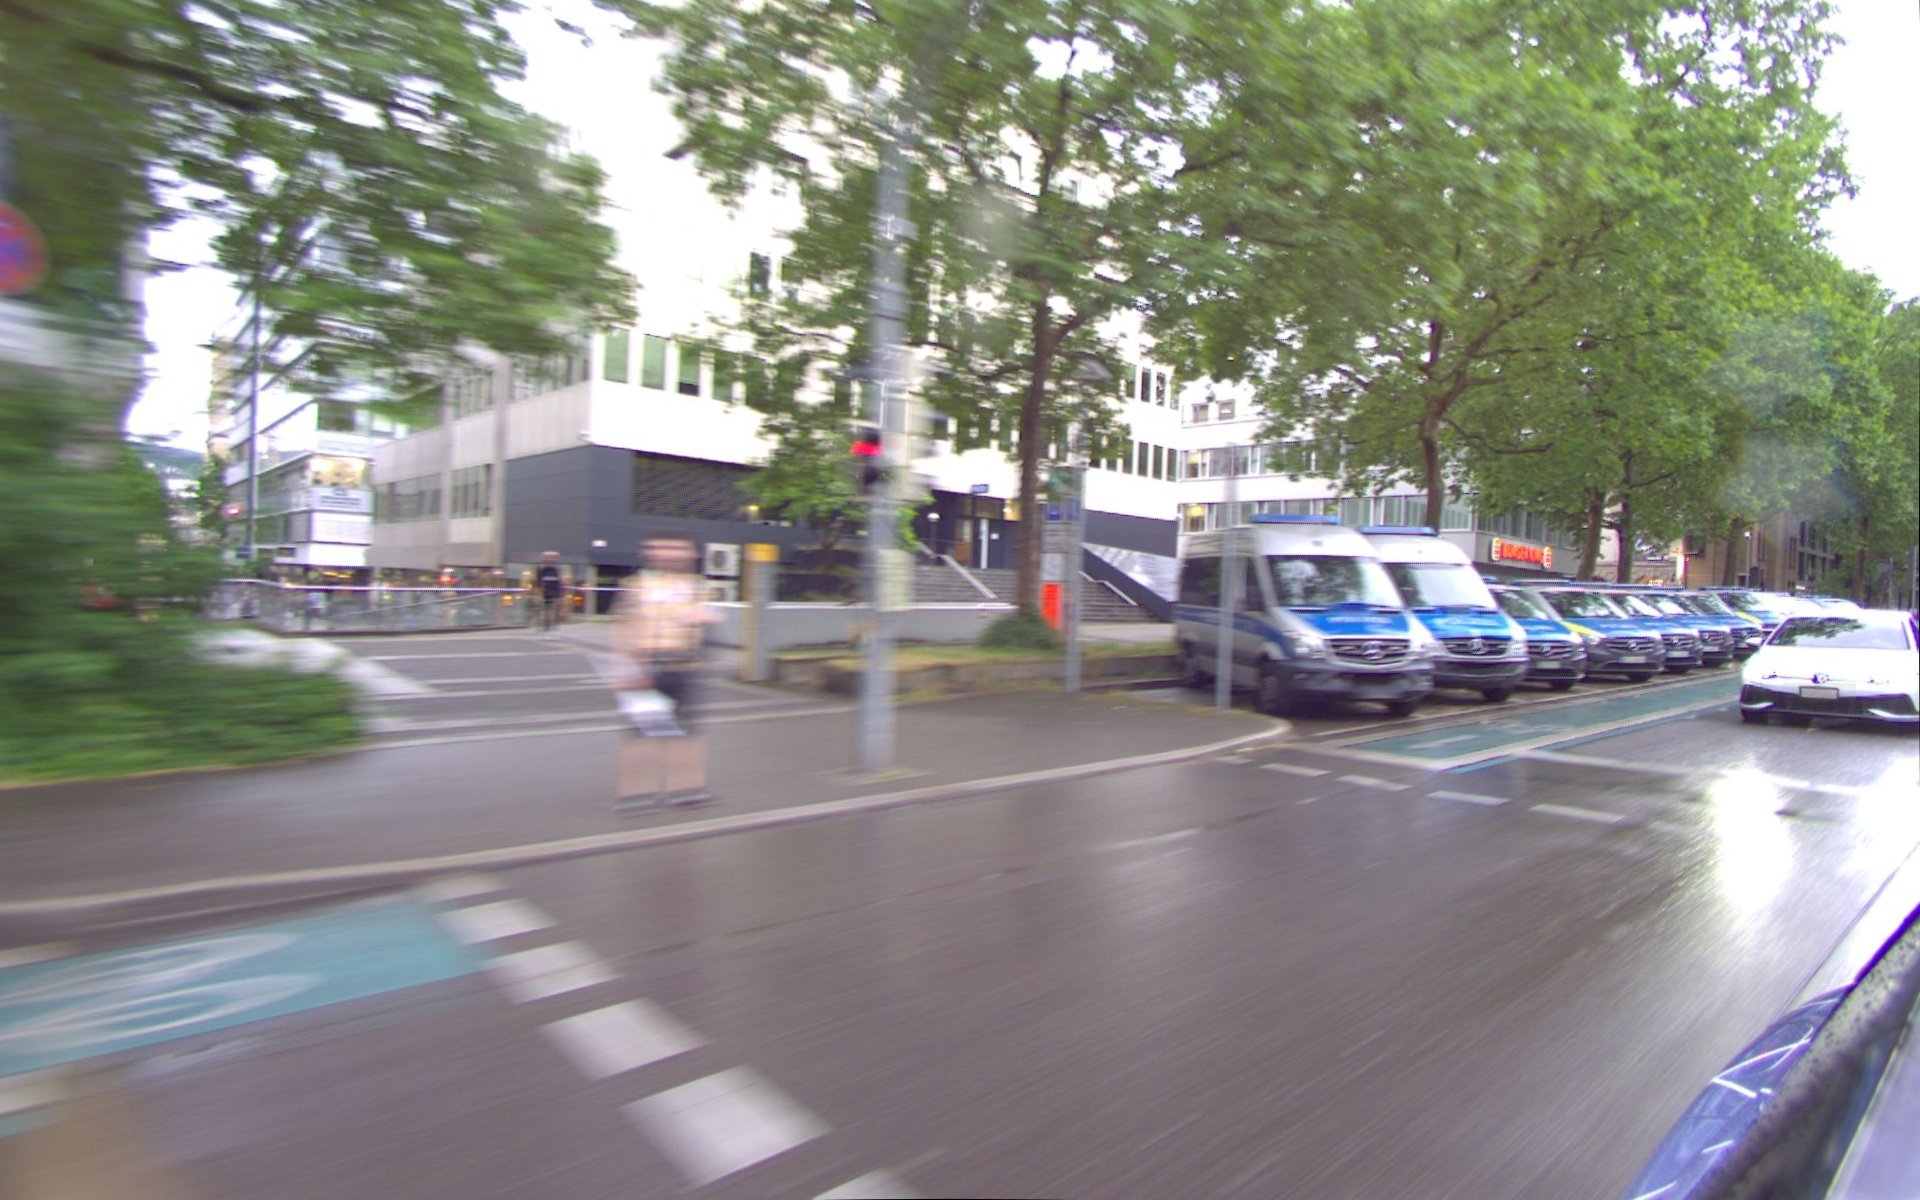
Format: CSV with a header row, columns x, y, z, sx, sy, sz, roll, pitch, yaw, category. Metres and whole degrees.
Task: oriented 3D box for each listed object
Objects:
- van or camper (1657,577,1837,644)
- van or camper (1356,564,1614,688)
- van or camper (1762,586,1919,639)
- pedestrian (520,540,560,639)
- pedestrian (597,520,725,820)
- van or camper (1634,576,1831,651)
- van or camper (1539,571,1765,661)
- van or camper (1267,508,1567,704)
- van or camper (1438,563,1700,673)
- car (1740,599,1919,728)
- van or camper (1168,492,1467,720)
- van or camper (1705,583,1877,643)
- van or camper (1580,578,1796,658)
x,y,z,sx,sy,sz,roll,pitch,yaw,category
25.379,0.286,32.897,1.831,2.023,4.858,1,1,-4,van or camper
9.621,0.363,19.147,1.960,2.039,5.022,0,1,-5,van or camper
35.859,0.460,41.417,1.963,2.017,4.949,0,0,-2,van or camper
-8.804,-0.223,21.233,0.754,2.038,0.705,1,2,-21,pedestrian
-1.974,0.426,6.674,0.605,1.854,0.556,1,1,41,pedestrian
22.852,0.335,30.229,1.960,2.036,4.799,0,1,-4,van or camper
17.416,0.338,25.883,2.065,2.050,5.111,1,1,-3,van or camper
7.278,0.031,17.046,1.960,2.714,5.818,1,1,-5,van or camper
12.488,0.318,21.286,1.960,2.017,5.215,0,0,-6,van or camper
12.021,0.736,13.512,4.433,1.463,1.863,0,-1,-43,car
4.905,0.038,15.083,2.105,2.711,5.820,1,1,-3,van or camper
30.651,0.457,37.568,1.957,2.045,5.092,0,0,-4,van or camper
20.170,0.406,28.389,1.959,2.020,5.032,1,1,-8,van or camper
